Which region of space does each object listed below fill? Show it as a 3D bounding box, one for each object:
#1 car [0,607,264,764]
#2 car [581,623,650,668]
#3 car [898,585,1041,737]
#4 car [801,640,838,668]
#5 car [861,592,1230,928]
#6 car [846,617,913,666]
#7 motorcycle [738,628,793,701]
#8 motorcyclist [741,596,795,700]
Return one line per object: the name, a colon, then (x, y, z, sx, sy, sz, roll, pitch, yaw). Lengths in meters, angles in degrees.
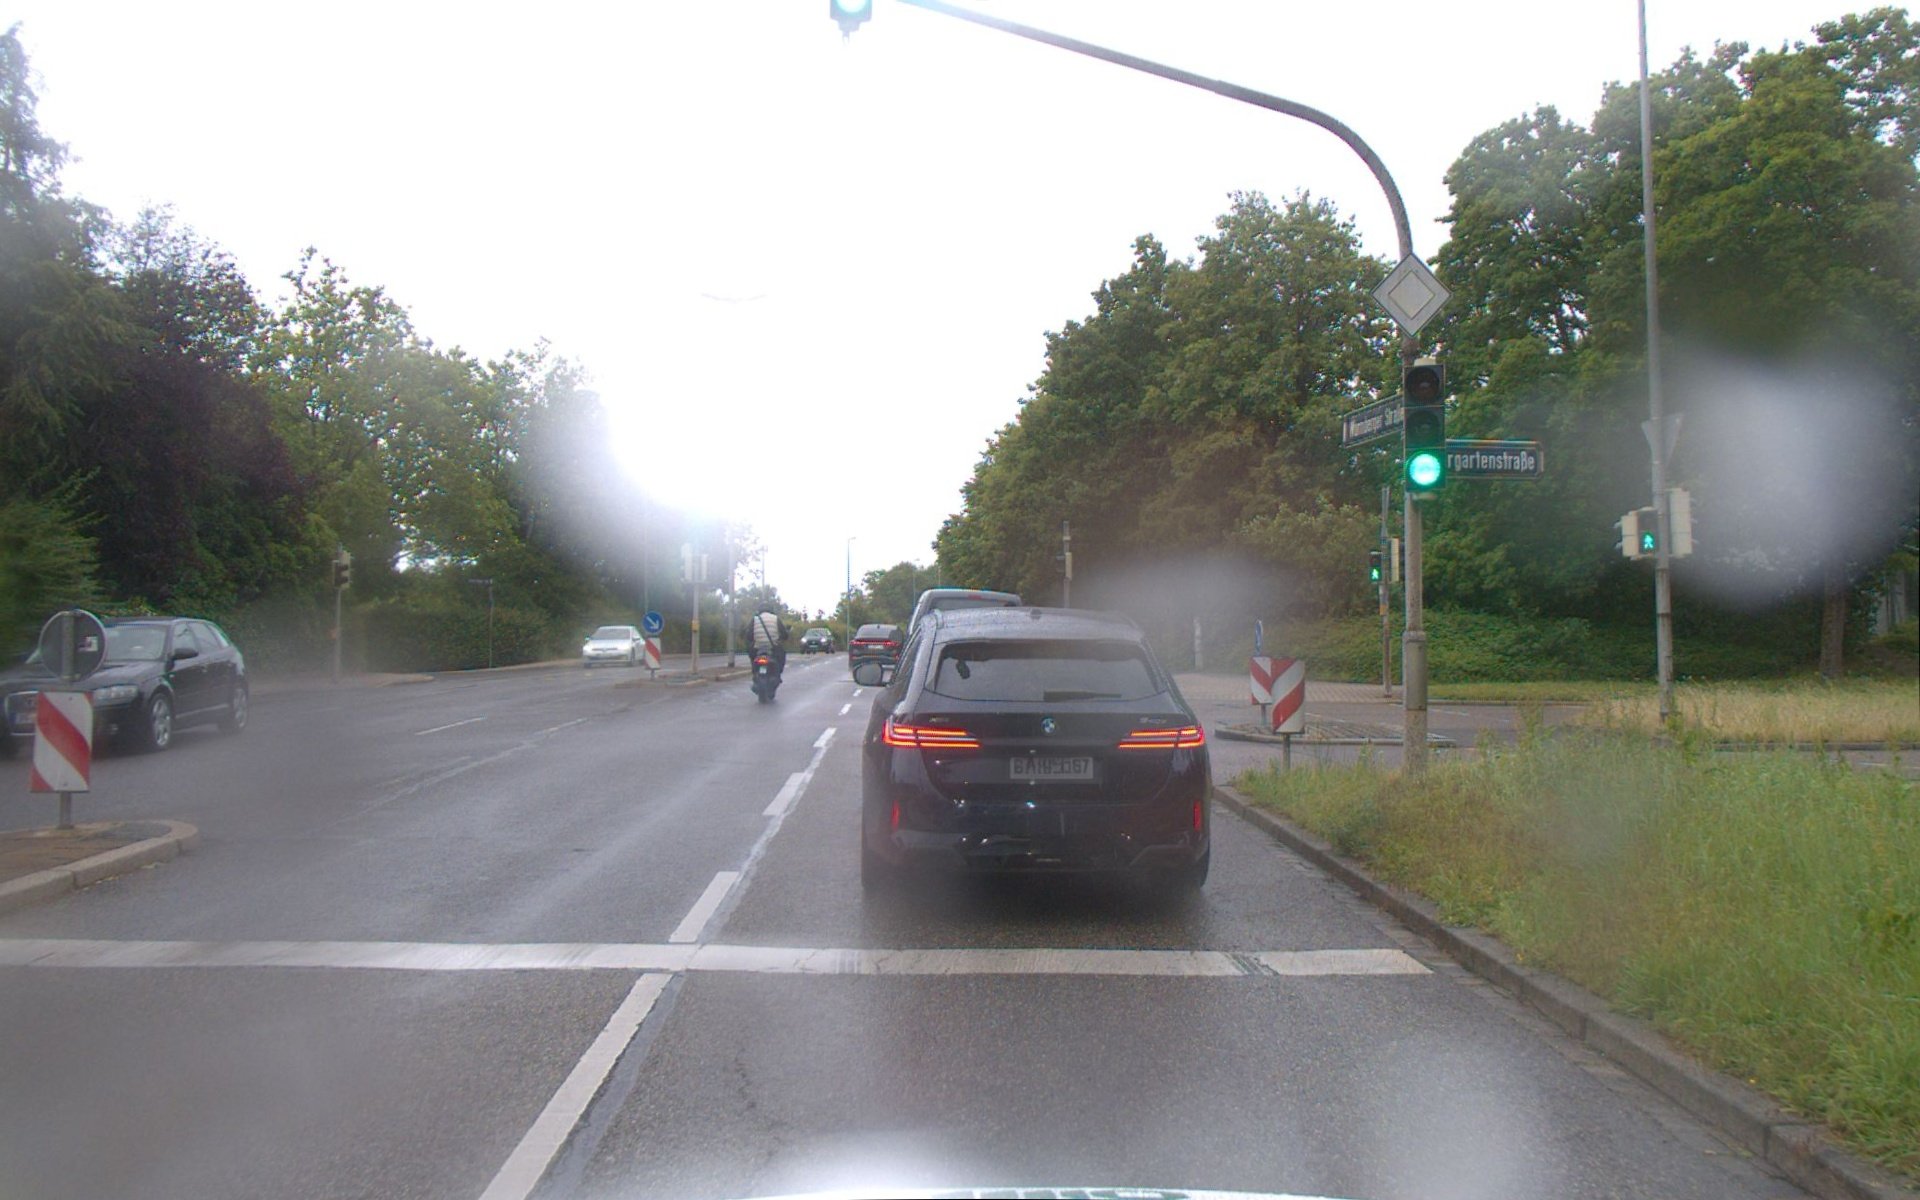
car: (-9.199, 0.855, 18.171, 1.827, 1.519, 3.828, -1, 0, -6)
car: (-12.460, 1.633, 60.046, 1.693, 1.511, 4.155, -2, -1, -2)
car: (0.099, 0.759, 22.287, 1.731, 1.841, 3.904, 1, 0, -1)
car: (-8.638, 3.312, 101.992, 1.984, 1.590, 3.875, -1, -1, -2)
car: (0.389, 0.766, 9.681, 1.728, 1.563, 3.672, 1, 0, -1)
car: (-2.582, 1.320, 53.921, 1.974, 1.440, 4.485, 1, 0, -1)
motorcycle: (-3.179, 1.046, 27.174, 0.726, 1.139, 1.426, 1, -1, -1)
motorcyclist: (-3.155, 0.785, 27.213, 0.828, 1.676, 0.467, 0, -1, -1)
